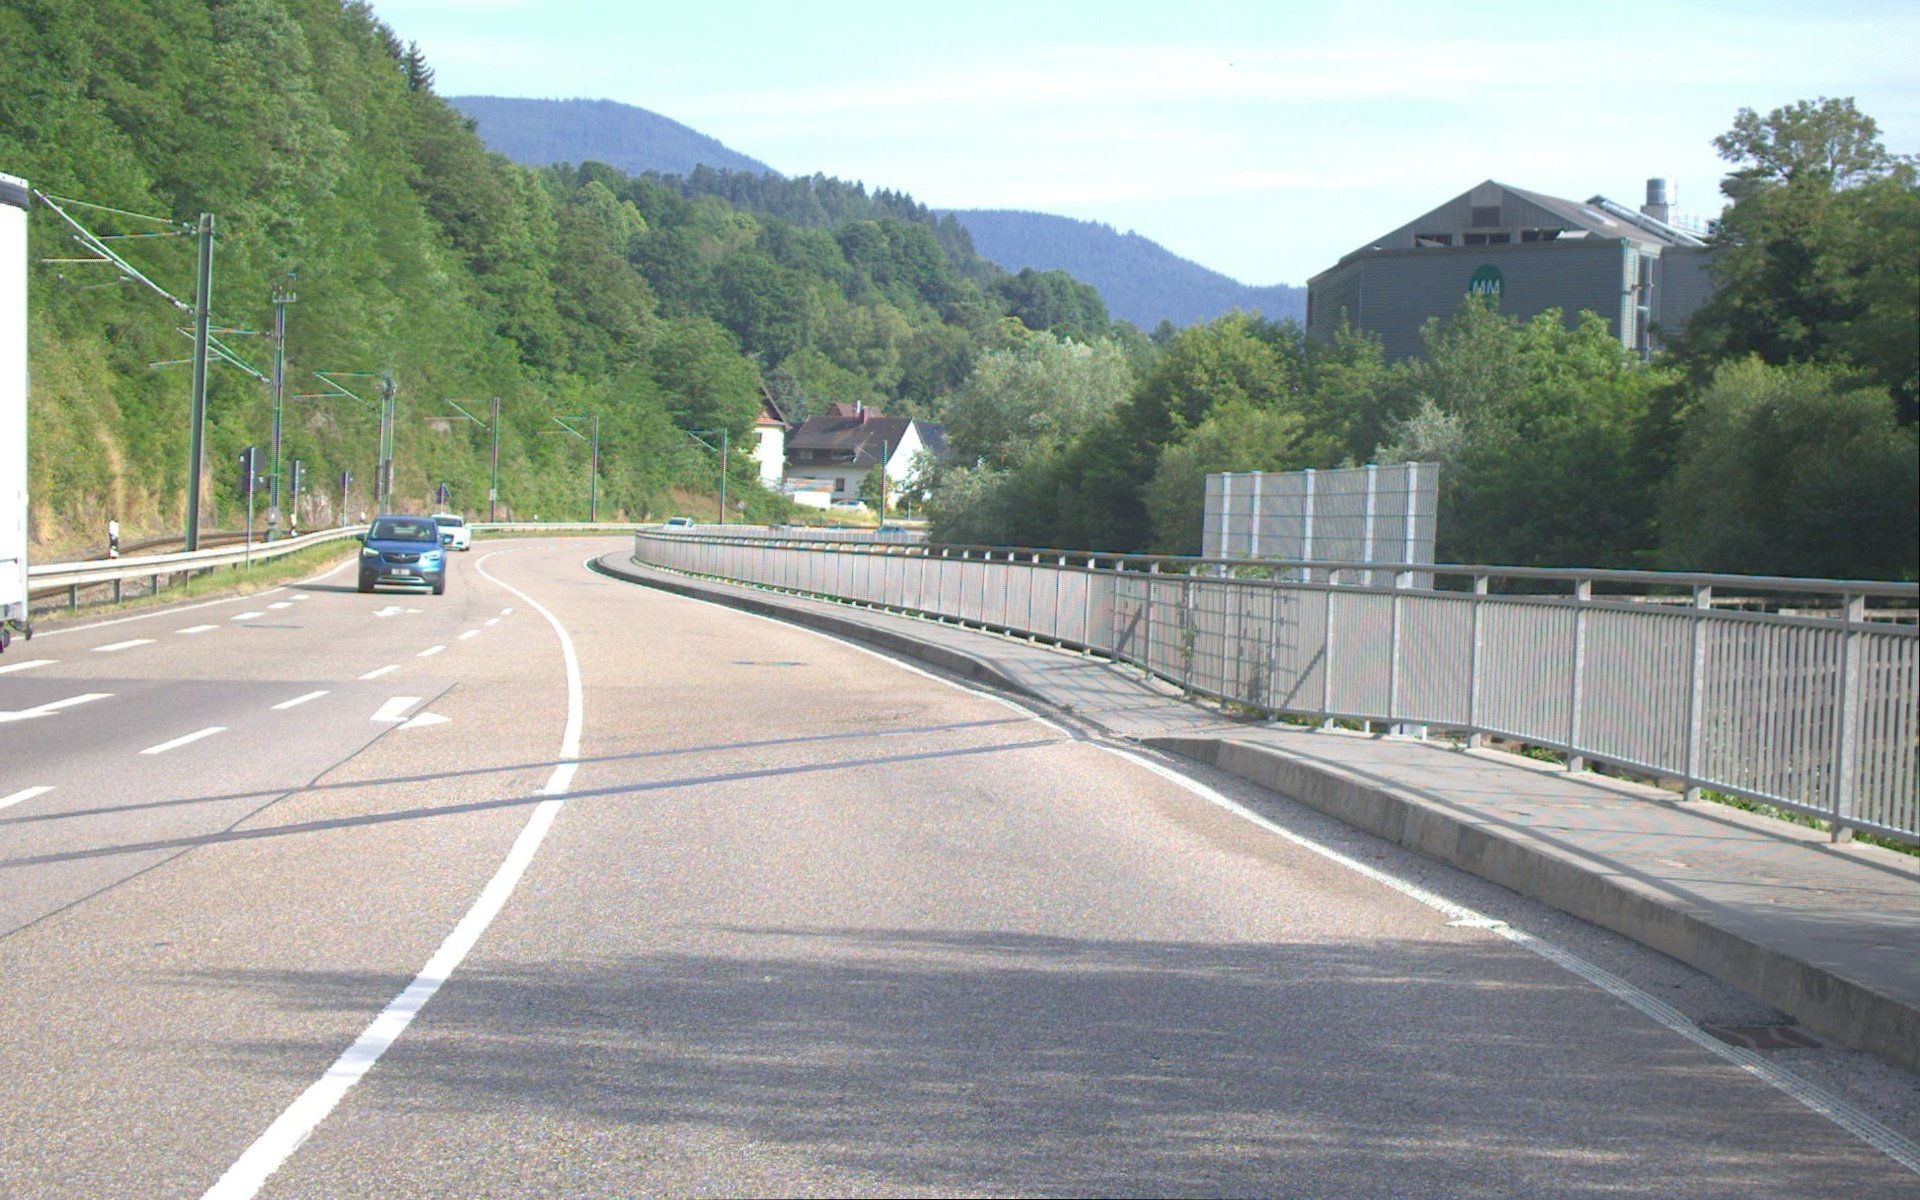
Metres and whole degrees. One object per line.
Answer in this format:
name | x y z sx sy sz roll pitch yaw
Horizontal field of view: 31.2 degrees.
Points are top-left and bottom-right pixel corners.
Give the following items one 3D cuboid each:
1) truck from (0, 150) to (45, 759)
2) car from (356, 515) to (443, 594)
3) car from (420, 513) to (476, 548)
truck | -7.312 -0.814 18.100 2.897 3.785 8.895 0 2 -2
car | -11.586 -0.957 71.209 1.718 1.565 4.136 0 1 -9
car | -21.161 -2.876 142.147 2.063 1.434 4.687 0 1 -6
